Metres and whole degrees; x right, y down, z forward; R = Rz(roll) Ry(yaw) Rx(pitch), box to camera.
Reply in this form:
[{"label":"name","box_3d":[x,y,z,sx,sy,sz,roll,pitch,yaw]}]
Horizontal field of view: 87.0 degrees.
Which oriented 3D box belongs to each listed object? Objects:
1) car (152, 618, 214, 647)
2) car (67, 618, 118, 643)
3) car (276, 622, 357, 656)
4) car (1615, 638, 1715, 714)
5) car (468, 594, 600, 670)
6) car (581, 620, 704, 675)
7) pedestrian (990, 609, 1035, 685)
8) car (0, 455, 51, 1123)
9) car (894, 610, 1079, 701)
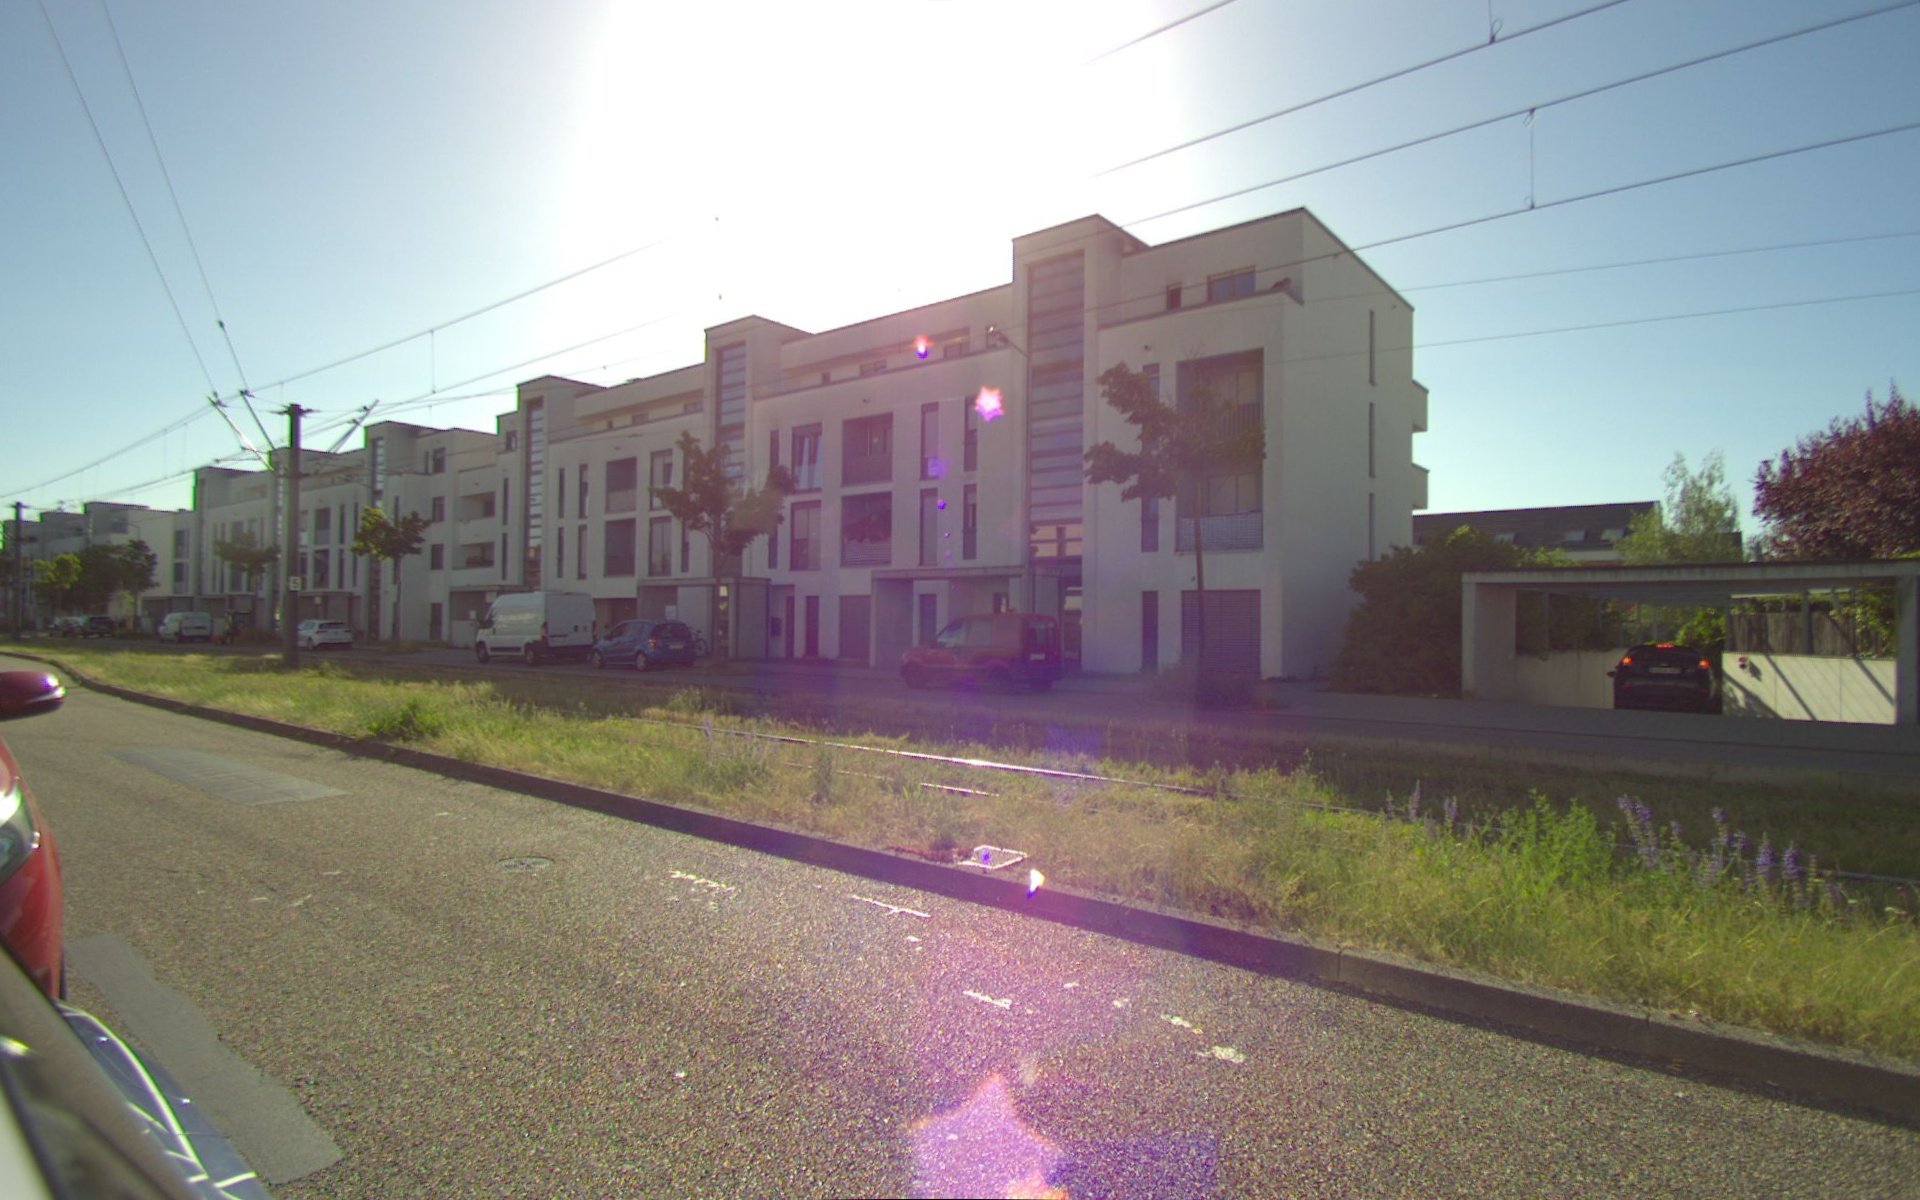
[{"label":"car","box_3d":[-47.338,1.962,61.624,4.277,1.693,1.900,-1,0,37]},{"label":"car","box_3d":[-62.958,2.165,73.406,4.277,1.693,1.900,-1,0,37]},{"label":"car","box_3d":[-31.119,1.840,48.897,4.277,1.517,1.900,-1,0,37]},{"label":"car","box_3d":[14.784,1.621,21.163,1.574,1.337,3.950,-1,-7,37]},{"label":"car","box_3d":[-15.179,1.077,35.941,5.193,2.491,2.197,-1,0,40]},{"label":"car","box_3d":[-9.985,1.450,31.736,3.833,1.556,1.973,-1,0,40]},{"label":"pedestrian","box_3d":[1.309,1.154,25.169,0.785,1.836,0.766,-1,0,41]},{"label":"car","box_3d":[-4.913,0.555,3.696,4.505,1.868,1.850,-1,0,41]},{"label":"car","box_3d":[0.552,1.171,23.014,3.895,1.842,1.972,-1,0,43]}]
